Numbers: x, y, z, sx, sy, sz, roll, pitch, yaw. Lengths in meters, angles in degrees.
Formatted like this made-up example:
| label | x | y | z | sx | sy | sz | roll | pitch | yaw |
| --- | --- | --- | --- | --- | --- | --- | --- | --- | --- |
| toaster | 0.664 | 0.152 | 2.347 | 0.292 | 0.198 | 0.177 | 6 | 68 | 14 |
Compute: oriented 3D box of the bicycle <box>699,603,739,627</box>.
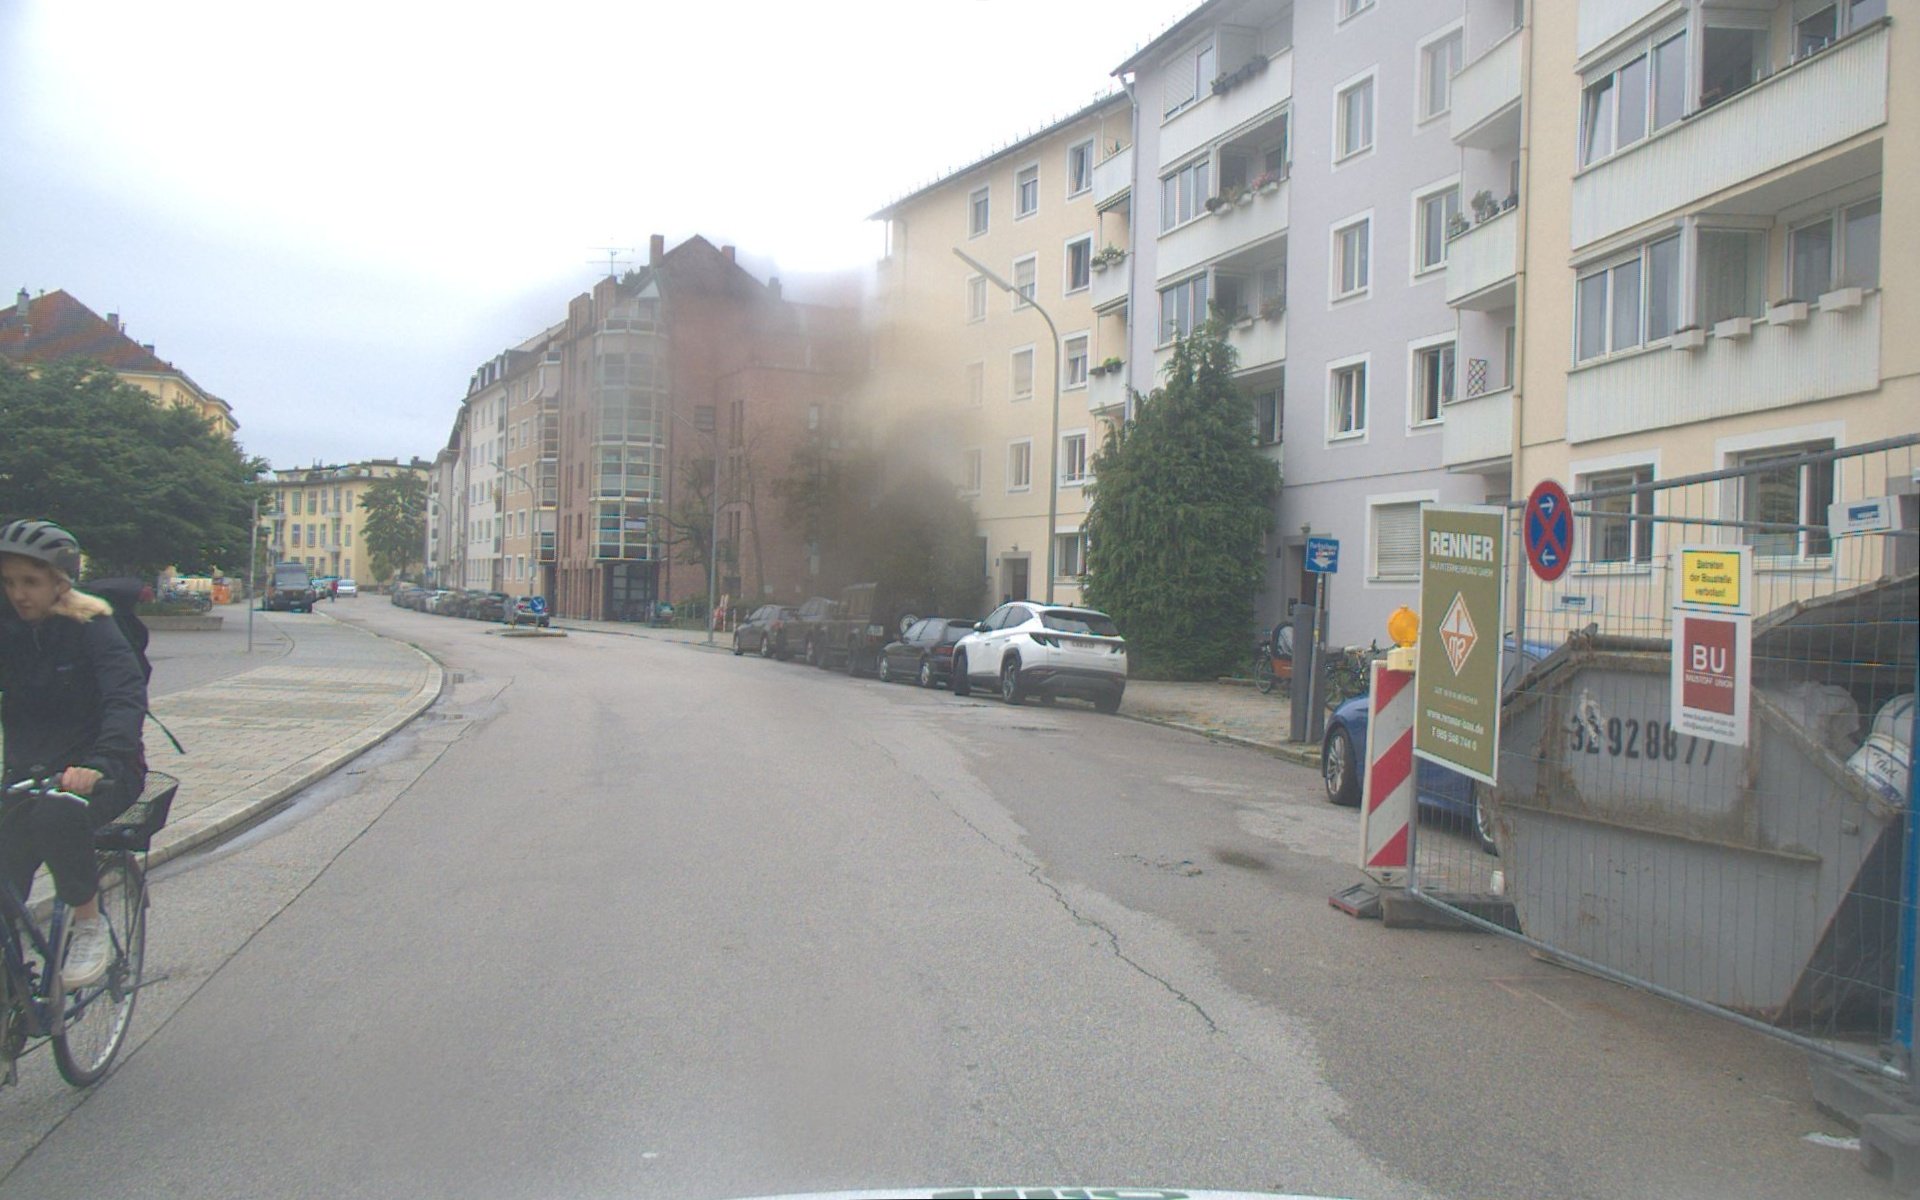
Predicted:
| label | x | y | z | sx | sy | sz | roll | pitch | yaw |
| --- | --- | --- | --- | --- | --- | --- | --- | --- | --- |
| bicycle | -10.882 | 0.692 | 74.614 | 1.679 | 0.982 | 0.542 | 3 | 0 | -25 |

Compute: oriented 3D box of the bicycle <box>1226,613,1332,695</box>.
| label | x | y | z | sx | sy | sz | roll | pitch | yaw |
| --- | --- | --- | --- | --- | --- | --- | --- | --- | --- |
| bicycle | 5.894 | 0.977 | 30.715 | 0.732 | 1.391 | 2.455 | -2 | 1 | -21 |

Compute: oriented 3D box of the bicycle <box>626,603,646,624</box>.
| label | x | y | z | sx | sy | sz | roll | pitch | yaw |
| --- | --- | --- | --- | --- | --- | --- | --- | --- | --- |
| bicycle | -17.413 | 0.710 | 88.814 | 0.480 | 1.078 | 1.978 | 3 | -1 | -27 |

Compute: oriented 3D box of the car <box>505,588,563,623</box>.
| label | x | y | z | sx | sy | sz | roll | pitch | yaw |
| --- | --- | --- | --- | --- | --- | --- | --- | --- | --- |
| car | -20.526 | 0.254 | 79.637 | 1.900 | 1.539 | 4.357 | 3 | -1 | -25 |

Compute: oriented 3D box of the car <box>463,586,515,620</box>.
| label | x | y | z | sx | sy | sz | roll | pitch | yaw |
| --- | --- | --- | --- | --- | --- | --- | --- | --- | --- |
| car | -25.398 | 0.135 | 89.086 | 1.810 | 1.630 | 4.226 | 3 | 0 | -28 |

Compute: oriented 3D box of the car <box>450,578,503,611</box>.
| label | x | y | z | sx | sy | sz | roll | pitch | yaw |
| --- | --- | --- | --- | --- | --- | --- | --- | --- | --- |
| car | -27.337 | -0.318 | 93.411 | 1.942 | 1.630 | 4.628 | 3 | 0 | -28 |

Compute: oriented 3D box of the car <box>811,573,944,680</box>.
| label | x | y | z | sx | sy | sz | roll | pitch | yaw |
| --- | --- | --- | --- | --- | --- | --- | --- | --- | --- |
| car | -1.898 | 0.517 | 36.554 | 1.721 | 2.118 | 4.492 | 3 | 0 | -18 |

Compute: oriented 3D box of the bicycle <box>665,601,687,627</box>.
| label | x | y | z | sx | sy | sz | roll | pitch | yaw |
| --- | --- | --- | --- | --- | --- | --- | --- | --- | --- |
| bicycle | -13.795 | 0.690 | 80.363 | 0.411 | 1.193 | 1.362 | 3 | 0 | 19 |

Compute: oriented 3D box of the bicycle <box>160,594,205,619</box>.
| label | x | y | z | sx | sy | sz | roll | pitch | yaw |
| --- | --- | --- | --- | --- | --- | --- | --- | --- | --- |
| bicycle | -36.873 | 0.302 | 78.470 | 1.836 | 1.047 | 0.537 | 3 | 0 | -15 |

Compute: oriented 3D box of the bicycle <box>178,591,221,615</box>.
| label | x | y | z | sx | sy | sz | roll | pitch | yaw |
| --- | --- | --- | --- | --- | --- | --- | --- | --- | --- |
| bicycle | -38.551 | 0.139 | 83.853 | 1.873 | 1.111 | 0.675 | 3 | 0 | -15 |

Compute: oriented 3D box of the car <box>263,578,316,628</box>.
| label | x | y | z | sx | sy | sz | roll | pitch | yaw |
| --- | --- | --- | --- | --- | --- | --- | --- | --- | --- |
| car | -37.986 | 0.180 | 93.613 | 2.392 | 2.762 | 5.902 | 0 | 0 | -26 |

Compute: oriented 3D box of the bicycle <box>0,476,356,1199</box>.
| label | x | y | z | sx | sy | sz | roll | pitch | yaw |
| --- | --- | --- | --- | --- | --- | --- | --- | --- | --- |
| bicycle | -2.484 | 0.599 | 4.554 | 0.780 | 1.752 | 3.111 | -1 | 1 | -6 |

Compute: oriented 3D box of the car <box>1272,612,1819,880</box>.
| label | x | y | z | sx | sy | sz | roll | pitch | yaw |
| --- | --- | --- | --- | --- | --- | --- | --- | --- | --- |
| car | 4.028 | 0.921 | 12.360 | 1.797 | 1.467 | 4.618 | 3 | 0 | -9 |

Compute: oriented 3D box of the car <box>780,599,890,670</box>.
| label | x | y | z | sx | sy | sz | roll | pitch | yaw |
| --- | --- | --- | --- | --- | --- | --- | --- | --- | --- |
| car | -3.153 | 0.814 | 40.988 | 1.633 | 1.593 | 4.491 | 3 | -1 | -18 |

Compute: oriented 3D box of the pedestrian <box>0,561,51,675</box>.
| label | x | y | z | sx | sy | sz | roll | pitch | yaw |
| --- | --- | --- | --- | --- | --- | --- | --- | --- | --- |
| pedestrian | -15.220 | 0.280 | 26.549 | 0.779 | 1.770 | 0.819 | 3 | 0 | -8 |

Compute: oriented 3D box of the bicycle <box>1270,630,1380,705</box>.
| label | x | y | z | sx | sy | sz | roll | pitch | yaw |
| --- | --- | --- | --- | --- | --- | --- | --- | --- | --- |
| bicycle | 6.068 | 1.109 | 27.587 | 0.572 | 1.178 | 1.805 | -1 | 1 | -40 |

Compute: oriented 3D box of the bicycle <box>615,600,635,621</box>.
| label | x | y | z | sx | sy | sz | roll | pitch | yaw |
| --- | --- | --- | --- | --- | --- | --- | --- | --- | --- |
| bicycle | -17.951 | 0.548 | 88.609 | 0.480 | 1.078 | 1.978 | 3 | -1 | -27 |

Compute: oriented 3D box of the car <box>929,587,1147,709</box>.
| label | x | y | z | sx | sy | sz | roll | pitch | yaw |
| --- | --- | --- | --- | --- | --- | --- | --- | --- | --- |
| car | 1.165 | 0.721 | 27.226 | 1.995 | 1.707 | 4.588 | 3 | 0 | -19 |

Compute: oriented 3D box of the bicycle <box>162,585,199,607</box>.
| label | x | y | z | sx | sy | sz | roll | pitch | yaw |
| --- | --- | --- | --- | --- | --- | --- | --- | --- | --- |
| bicycle | -34.251 | -0.160 | 72.686 | 1.351 | 0.877 | 0.437 | 3 | 0 | -19 |

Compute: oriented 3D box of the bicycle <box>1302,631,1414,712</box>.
| label | x | y | z | sx | sy | sz | roll | pitch | yaw |
| --- | --- | --- | --- | --- | --- | --- | --- | --- | --- |
| bicycle | 6.325 | 1.116 | 26.254 | 1.806 | 1.178 | 0.572 | -1 | 1 | -29 |

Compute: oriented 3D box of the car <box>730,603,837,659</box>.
| label | x | y | z | sx | sy | sz | roll | pitch | yaw |
| --- | --- | --- | --- | --- | --- | --- | --- | --- | --- |
| car | -4.933 | 0.832 | 45.883 | 1.732 | 1.421 | 4.013 | 3 | -2 | -25 |

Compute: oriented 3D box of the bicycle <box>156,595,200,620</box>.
| label | x | y | z | sx | sy | sz | roll | pitch | yaw |
| --- | --- | --- | --- | --- | --- | --- | --- | --- | --- |
| bicycle | -36.547 | 0.344 | 77.320 | 1.761 | 1.051 | 0.505 | 3 | 0 | -15 |

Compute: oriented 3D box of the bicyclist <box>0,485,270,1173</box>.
| label | x | y | z | sx | sy | sz | roll | pitch | yaw |
| --- | --- | --- | --- | --- | --- | --- | --- | --- | --- |
| bicyclist | -2.513 | 0.572 | 4.698 | 0.733 | 1.747 | 1.030 | 1 | 1 | -6 |

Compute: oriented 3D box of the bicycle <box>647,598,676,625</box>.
| label | x | y | z | sx | sy | sz | roll | pitch | yaw |
| --- | --- | --- | --- | --- | --- | --- | --- | --- | --- |
| bicycle | -14.641 | 0.549 | 81.107 | 0.528 | 1.270 | 2.388 | 3 | -2 | -31 |

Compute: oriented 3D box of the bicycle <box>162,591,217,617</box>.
| label | x | y | z | sx | sy | sz | roll | pitch | yaw |
| --- | --- | --- | --- | --- | --- | --- | --- | --- | --- |
| bicycle | -37.148 | 0.193 | 79.791 | 2.272 | 1.155 | 0.579 | 3 | 0 | -15 |

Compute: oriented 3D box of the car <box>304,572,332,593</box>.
| label | x | y | z | sx | sy | sz | roll | pitch | yaw |
| --- | --- | --- | --- | --- | --- | --- | --- | --- | --- |
| car | -56.226 | -1.522 | 144.843 | 1.999 | 1.649 | 4.473 | 3 | 0 | -24 |

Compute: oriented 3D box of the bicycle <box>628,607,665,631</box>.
| label | x | y | z | sx | sy | sz | roll | pitch | yaw |
| --- | --- | --- | --- | --- | --- | --- | --- | --- | --- |
| bicycle | -16.543 | 0.994 | 87.319 | 1.820 | 1.167 | 0.485 | 3 | 0 | -20 |

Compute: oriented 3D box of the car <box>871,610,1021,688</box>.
| label | x | y | z | sx | sy | sz | roll | pitch | yaw |
| --- | --- | --- | --- | --- | --- | --- | --- | --- | --- |
| car | -0.334 | 0.919 | 32.125 | 1.635 | 1.372 | 3.779 | 3 | -1 | -22 |
